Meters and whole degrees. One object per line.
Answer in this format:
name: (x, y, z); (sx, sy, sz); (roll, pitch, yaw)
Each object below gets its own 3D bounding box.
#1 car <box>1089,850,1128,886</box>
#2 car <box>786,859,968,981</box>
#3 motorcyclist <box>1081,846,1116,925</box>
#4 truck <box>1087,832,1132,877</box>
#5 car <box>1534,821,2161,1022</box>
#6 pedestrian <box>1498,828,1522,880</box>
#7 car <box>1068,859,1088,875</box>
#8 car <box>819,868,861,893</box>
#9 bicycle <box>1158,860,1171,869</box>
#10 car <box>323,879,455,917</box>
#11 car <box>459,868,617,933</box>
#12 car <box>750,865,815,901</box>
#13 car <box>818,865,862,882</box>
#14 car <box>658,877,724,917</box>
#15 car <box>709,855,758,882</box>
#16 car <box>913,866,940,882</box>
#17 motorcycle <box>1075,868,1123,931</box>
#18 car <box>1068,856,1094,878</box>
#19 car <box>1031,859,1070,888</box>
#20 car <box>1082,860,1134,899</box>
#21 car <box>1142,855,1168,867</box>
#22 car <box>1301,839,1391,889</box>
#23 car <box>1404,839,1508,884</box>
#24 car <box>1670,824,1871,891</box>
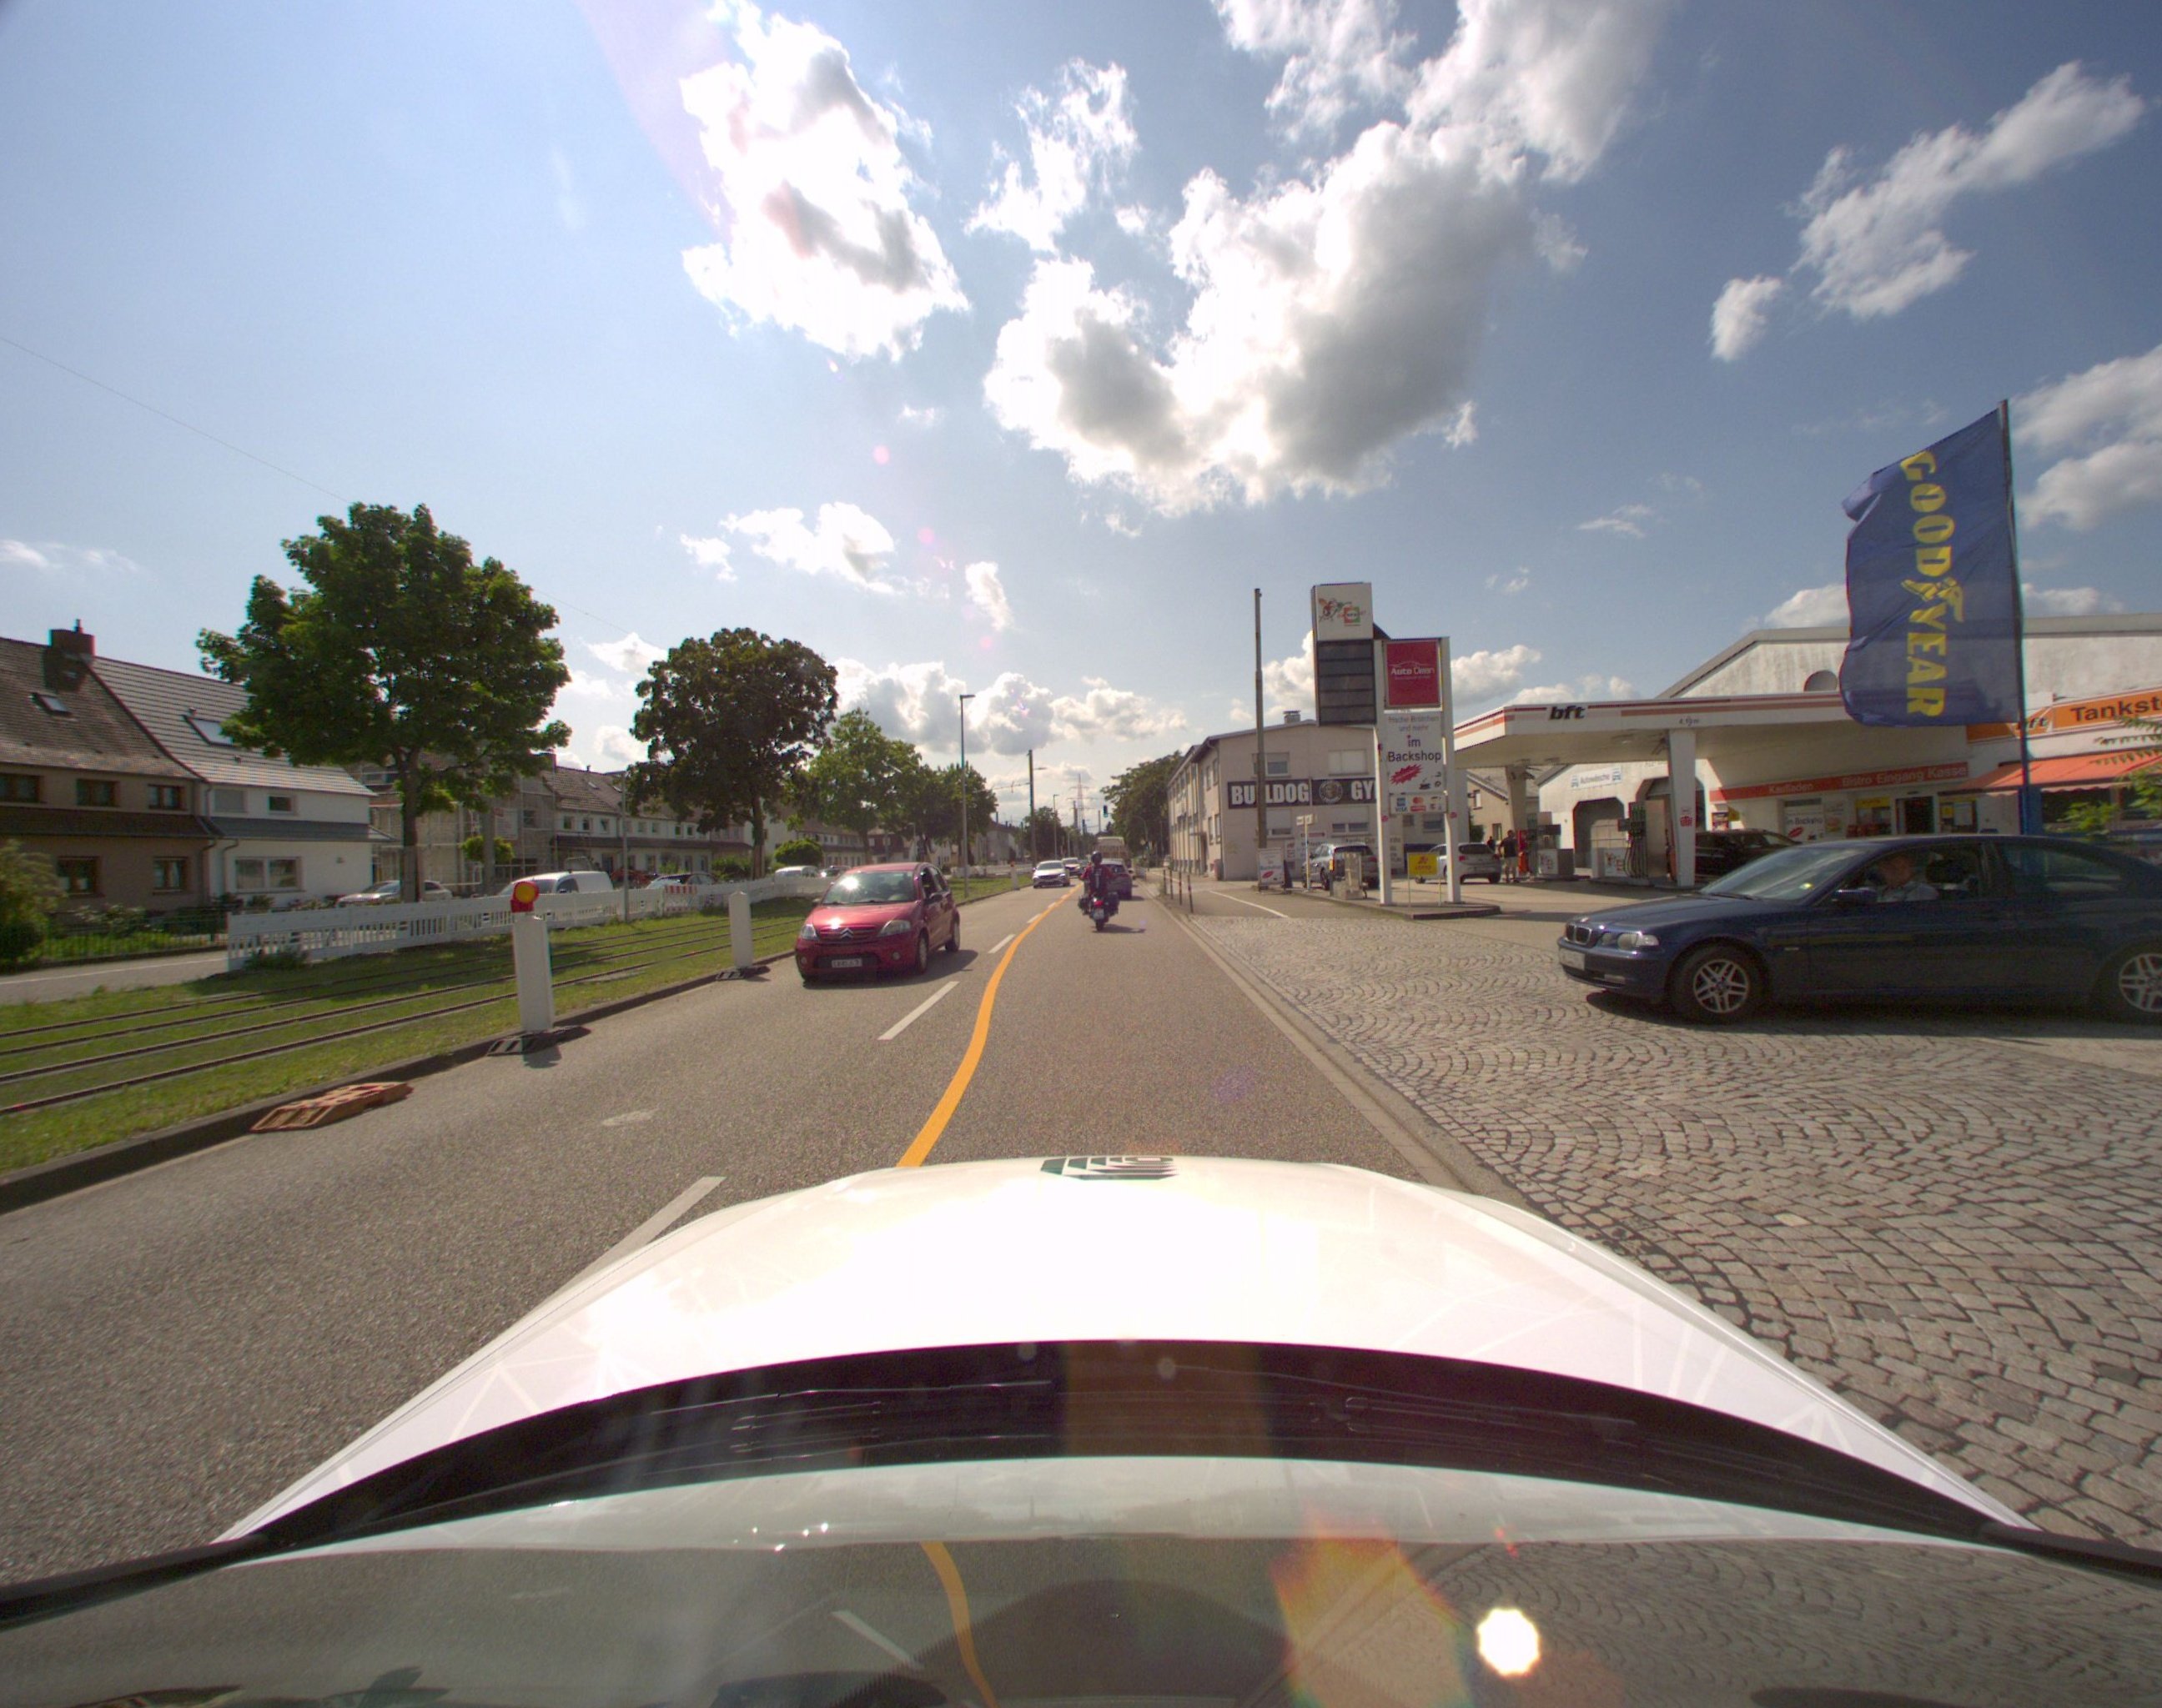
car: (1.534, 0.694, 44.070); (1.893, 1.712, 4.723); (-2, 1, 3)
car: (-2.819, 0.844, 12.085); (1.572, 1.469, 3.722); (-2, 0, 2)
motorcyclist: (0.376, 0.654, 17.054); (0.695, 1.604, 0.692); (0, -1, 2)
truck: (2.260, 0.127, 61.542); (2.953, 3.173, 7.774); (0, -1, 5)
car: (6.262, 0.512, 6.780); (4.028, 1.408, 1.652); (-1, -1, 10)
pedestrian: (14.849, 0.005, 28.203); (0.495, 1.776, 0.577); (0, -1, 0)
car: (-0.252, 1.296, 80.912); (1.686, 1.412, 3.860); (-6, -1, 1)
car: (-14.304, 1.559, 48.472); (1.345, 1.377, 3.116); (-3, -1, 2)
bicycle: (11.293, 1.369, 109.874); (1.698, 1.172, 0.439); (0, -1, 7)
car: (-27.117, 1.676, 32.093); (1.528, 1.275, 4.122); (-3, -1, 2)
car: (-15.313, 1.247, 23.237); (1.646, 1.626, 4.003); (-3, -1, 2)
car: (-14.850, 1.402, 40.692); (1.616, 1.651, 3.901); (-3, -1, 2)
car: (-25.156, 2.020, 84.980); (3.972, 1.510, 1.726); (-2, -1, 1)
car: (-14.596, 1.581, 30.580); (1.067, 1.348, 2.453); (-3, -1, 6)
car: (-27.246, 1.129, 63.960); (1.986, 2.014, 4.001); (0, -1, 2)
car: (-13.291, 1.682, 70.110); (1.515, 1.354, 3.623); (0, -1, 2)
motorcycle: (0.413, 0.918, 17.319); (0.939, 1.200, 2.474); (0, 0, 2)
car: (0.043, 1.072, 66.695); (1.817, 1.666, 4.464); (-3, -1, 2)
car: (-1.637, 1.067, 44.836); (1.814, 1.445, 4.484); (-3, -1, 1)
car: (0.989, 0.939, 31.340); (1.727, 1.404, 4.083); (0, 0, -2)
car: (11.760, 1.134, 129.418); (4.022, 1.926, 1.781); (1, -2, -43)
car: (9.385, 0.340, 29.232); (1.937, 1.625, 4.620); (-1, -1, 3)
car: (13.714, 0.296, 30.087); (1.686, 1.471, 4.422); (-3, -1, 0)
car: (18.124, 0.048, 21.742); (1.676, 1.519, 4.496); (-3, 1, 2)
